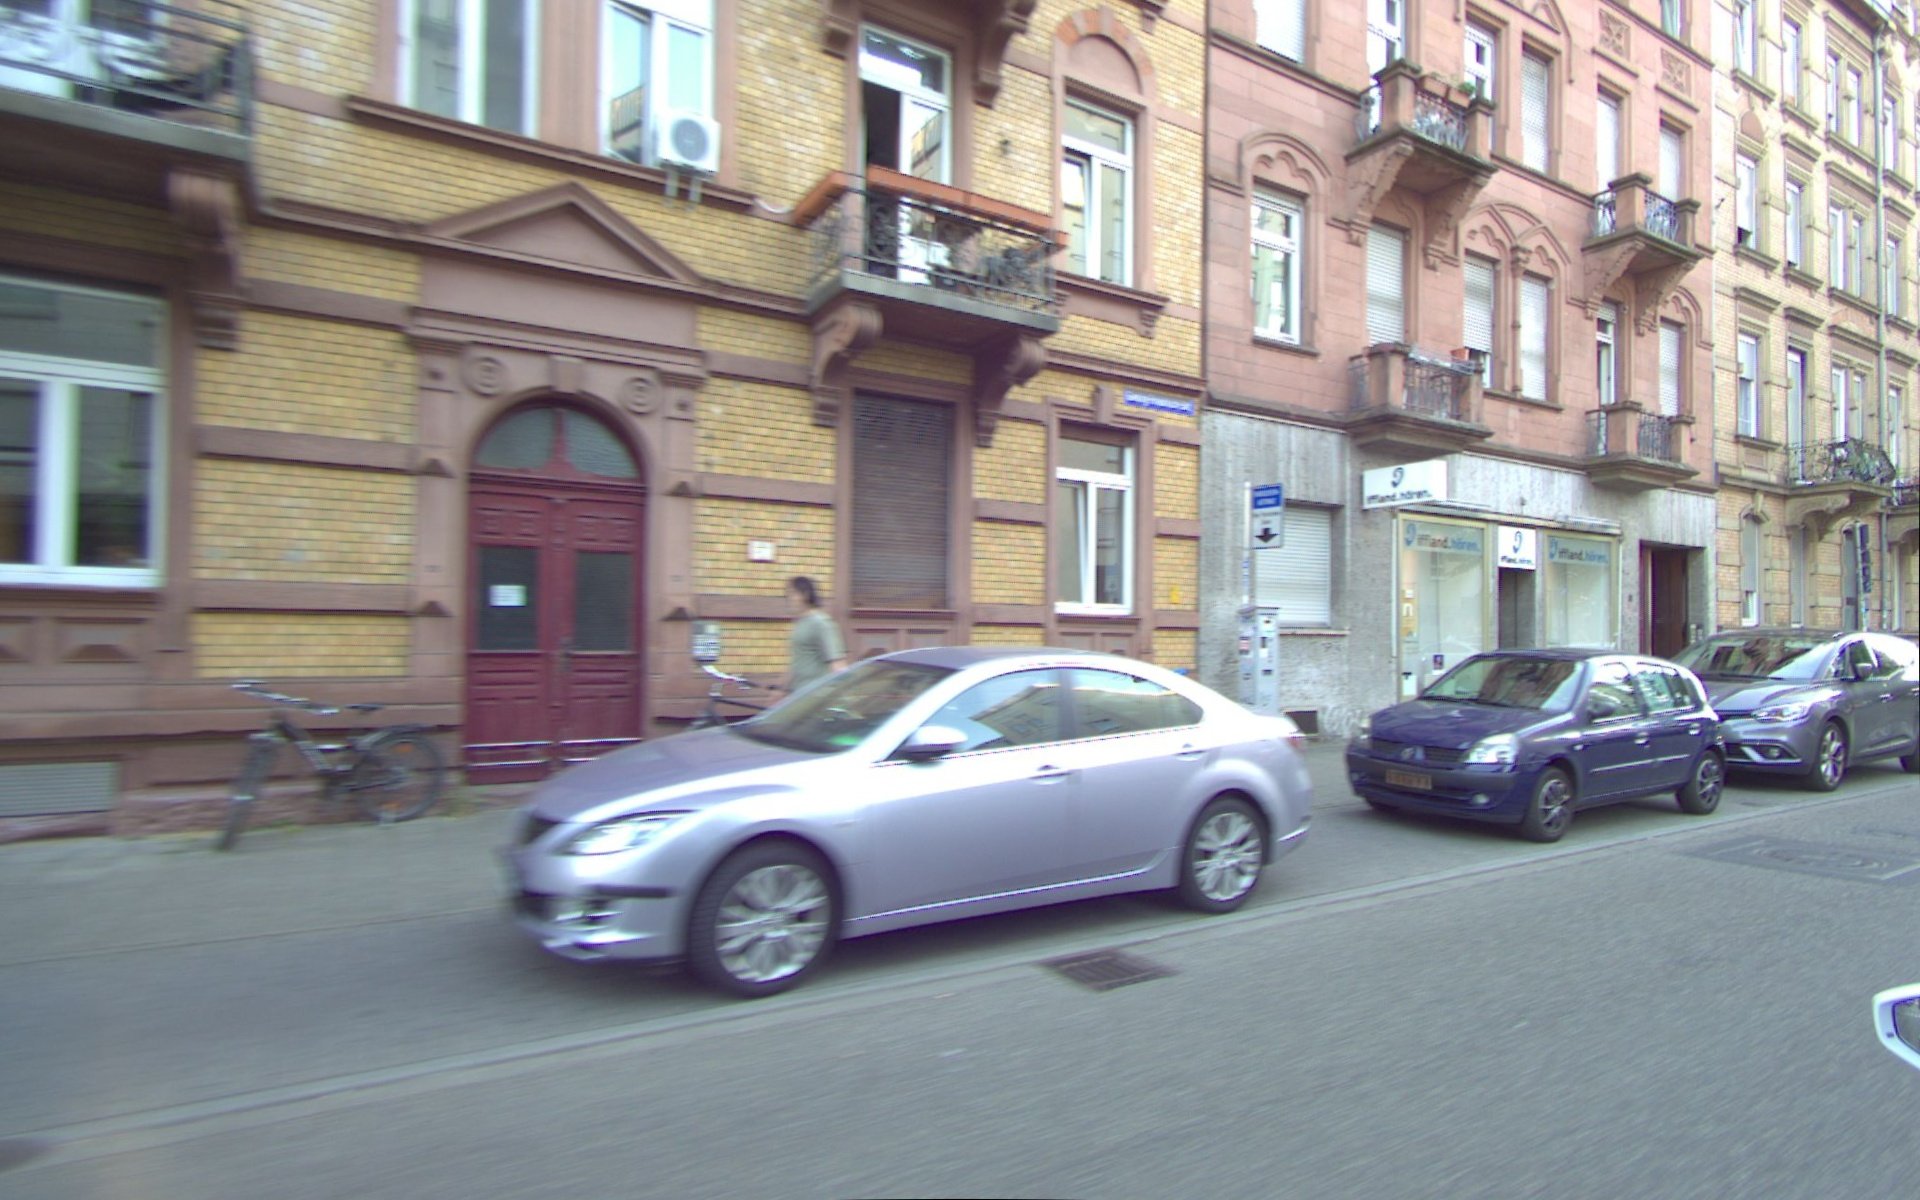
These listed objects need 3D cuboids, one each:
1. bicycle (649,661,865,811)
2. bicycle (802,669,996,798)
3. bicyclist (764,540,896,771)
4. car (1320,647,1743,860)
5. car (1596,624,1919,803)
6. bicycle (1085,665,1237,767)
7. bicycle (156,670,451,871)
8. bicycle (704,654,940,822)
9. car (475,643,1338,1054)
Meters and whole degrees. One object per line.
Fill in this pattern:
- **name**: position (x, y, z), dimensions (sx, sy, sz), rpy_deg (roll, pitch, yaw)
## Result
- **bicycle**: position (-1.739, 1.131, 8.703), dimensions (1.739, 1.138, 0.546), rpy_deg (1, 1, -31)
- **bicycle**: position (-0.550, 1.205, 9.415), dimensions (1.739, 1.051, 0.546), rpy_deg (1, 1, -31)
- **bicyclist**: position (-1.058, 0.441, 8.111), dimensions (0.831, 1.752, 0.706), rpy_deg (3, -2, -25)
- **car**: position (5.007, 1.157, 8.708), dimensions (3.653, 1.439, 1.577), rpy_deg (1, -1, -30)
- **car**: position (9.384, 1.143, 11.455), dimensions (4.395, 1.655, 1.844), rpy_deg (1, -1, -31)
- **bicycle**: position (2.295, 1.281, 11.388), dimensions (1.826, 1.036, 0.447), rpy_deg (2, 2, -31)
- **bicycle**: position (-4.436, 1.086, 6.858), dimensions (1.596, 1.138, 0.732), rpy_deg (1, 0, -38)
- **bicycle**: position (-1.103, 1.072, 8.075), dimensions (1.718, 1.212, 0.706), rpy_deg (3, -2, -25)
- **car**: position (-0.105, 1.015, 5.599), dimensions (4.530, 1.439, 1.714), rpy_deg (2, -1, -31)
